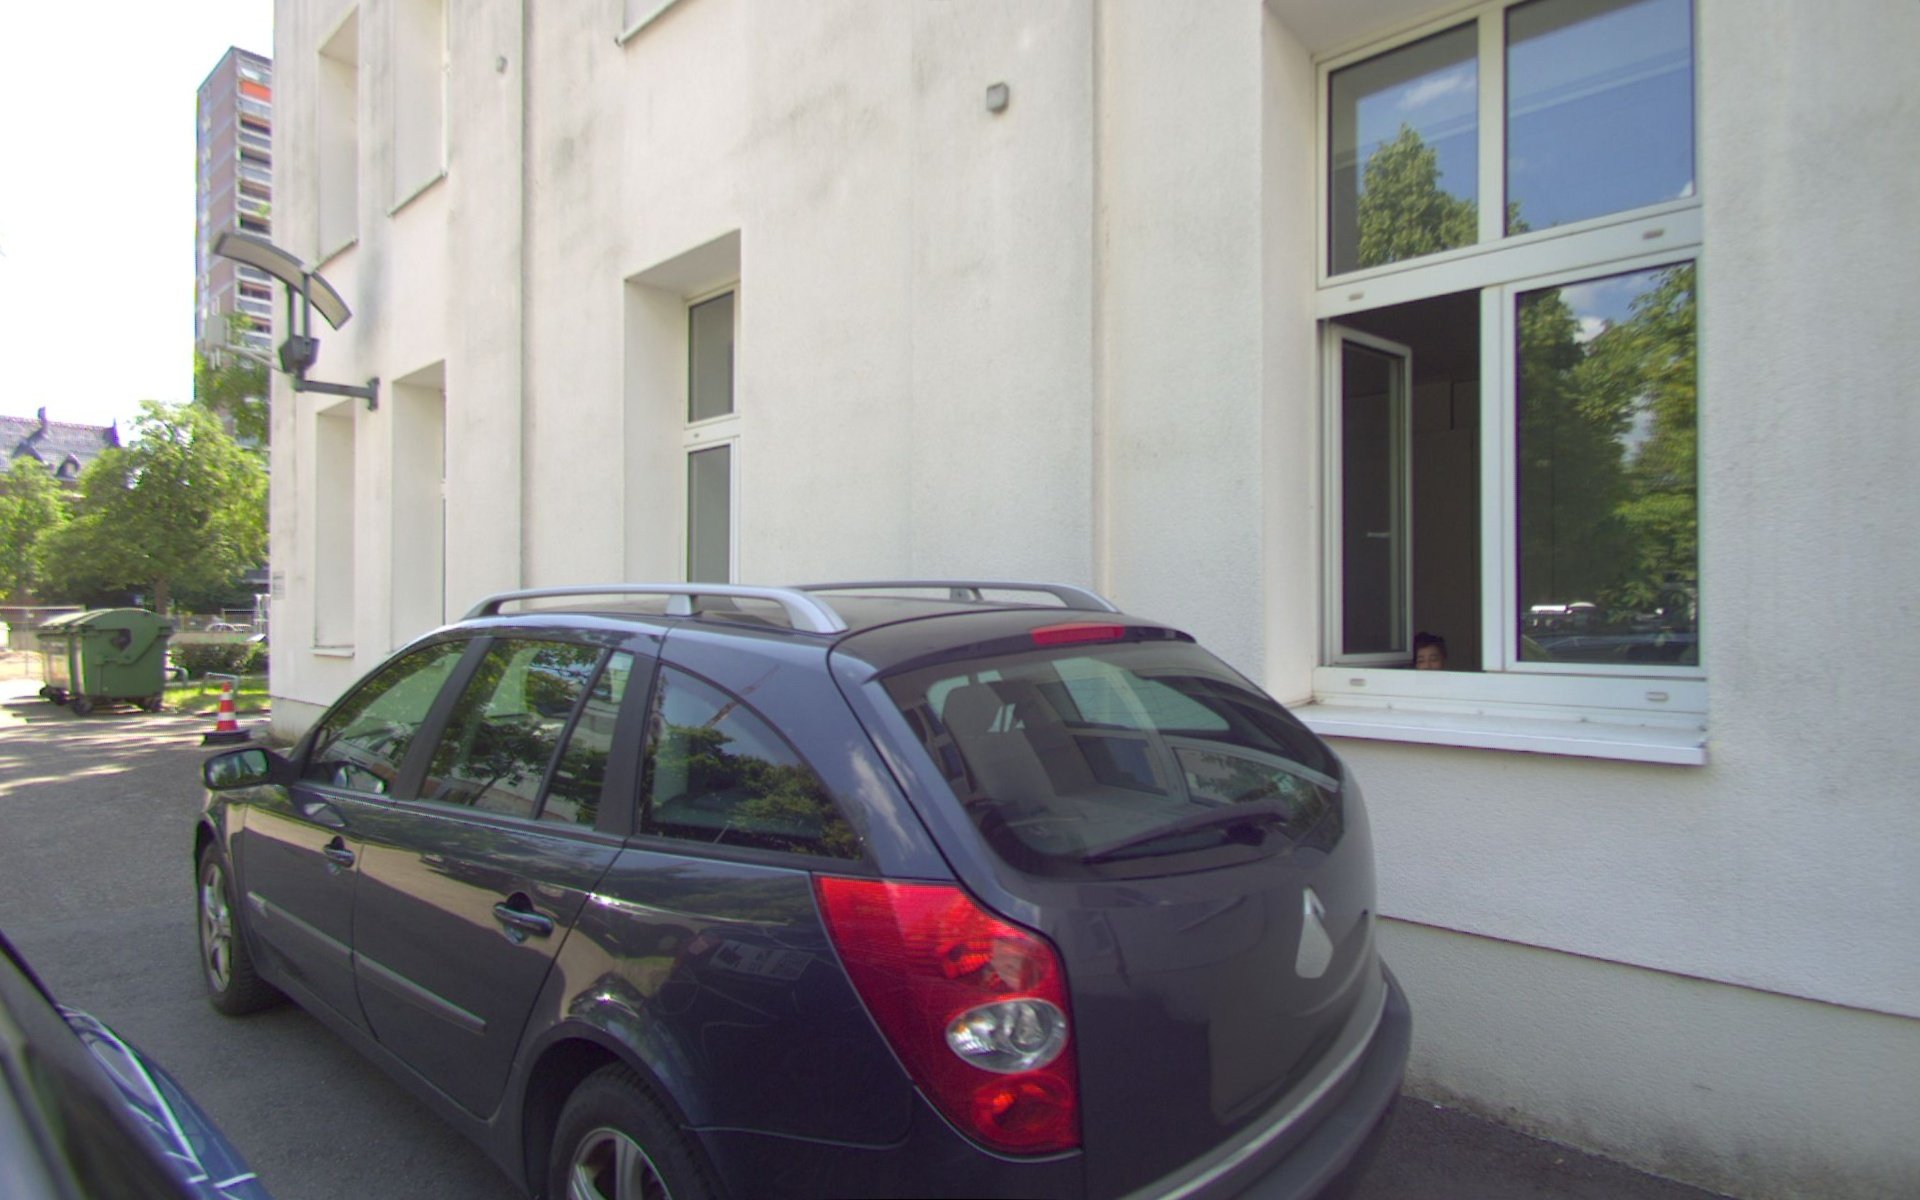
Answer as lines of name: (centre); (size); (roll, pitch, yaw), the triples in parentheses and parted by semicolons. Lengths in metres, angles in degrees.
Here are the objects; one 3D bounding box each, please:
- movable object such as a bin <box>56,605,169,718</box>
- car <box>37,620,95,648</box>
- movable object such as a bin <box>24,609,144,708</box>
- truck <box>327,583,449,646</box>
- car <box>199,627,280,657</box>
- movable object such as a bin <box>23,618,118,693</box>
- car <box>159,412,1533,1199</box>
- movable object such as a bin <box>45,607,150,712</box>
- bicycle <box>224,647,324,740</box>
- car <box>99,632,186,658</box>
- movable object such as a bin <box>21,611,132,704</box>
movable object such as a bin: (-11.907, 0.834, 14.212); (1.410, 1.491, 1.033); (-2, -2, 42)
car: (-67.400, 2.516, 76.352); (1.965, 2.029, 4.013); (0, -1, -21)
movable object such as a bin: (-14.006, 0.911, 16.185); (1.355, 1.491, 1.085); (-1, -2, 32)
truck: (-38.662, 1.030, 68.262); (9.708, 4.036, 2.722); (-1, -1, 31)
car: (-36.611, 2.119, 51.436); (3.554, 1.451, 1.613); (-1, -2, 18)
movable object such as a bin: (-17.380, 1.069, 19.818); (1.097, 1.405, 1.164); (1, -2, -25)
car: (-0.940, 0.603, 3.092); (4.386, 1.441, 1.735); (-2, -2, 43)
movable object such as a bin: (-12.989, 0.874, 15.240); (1.262, 1.491, 1.033); (-2, -2, 42)
bicycle: (-7.884, 1.029, 11.600); (1.730, 0.965, 0.605); (-2, -2, 44)
car: (-51.959, 2.853, 64.326); (4.353, 1.619, 1.993); (-1, -1, 11)
movable object such as a bin: (-14.961, 0.948, 17.148); (1.323, 1.491, 1.192); (-2, -2, 39)
